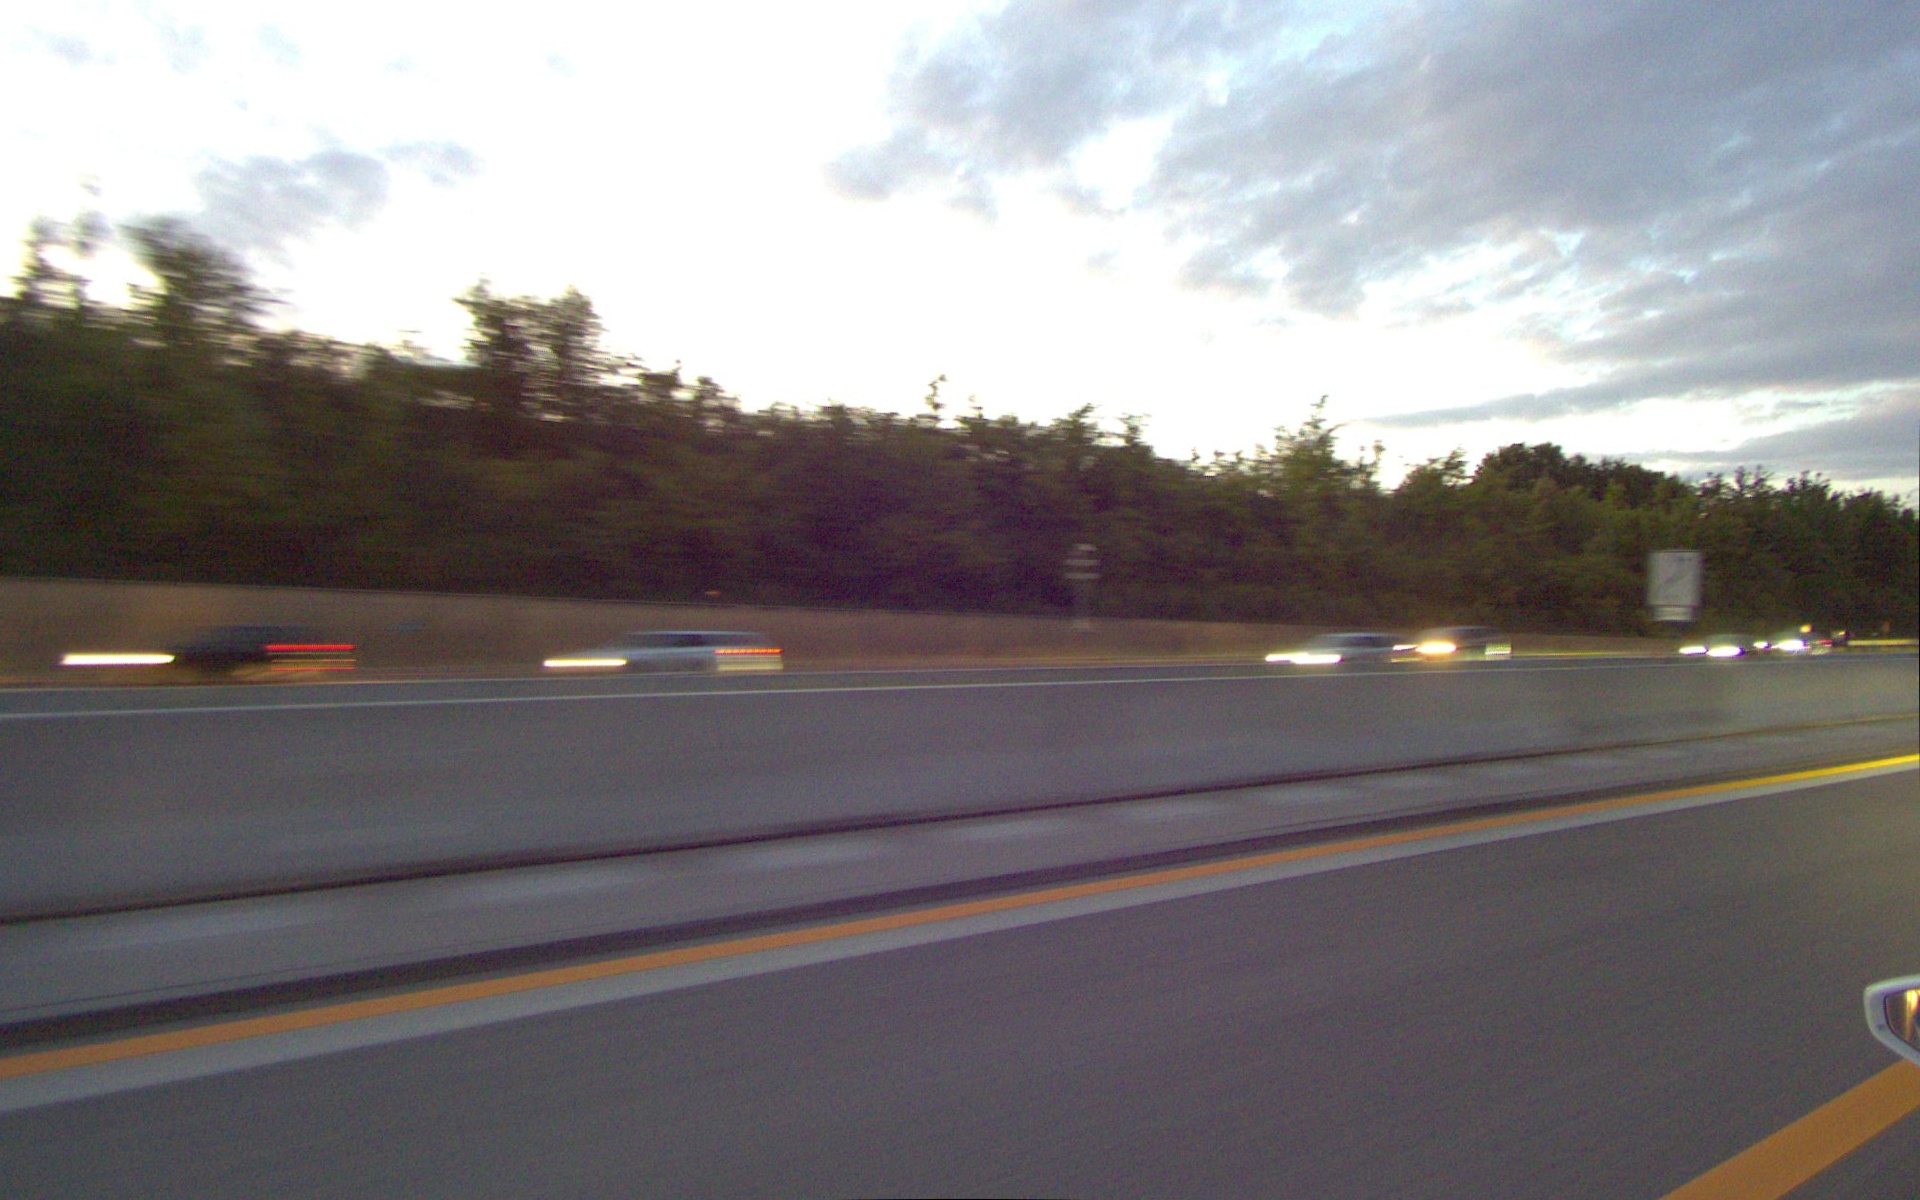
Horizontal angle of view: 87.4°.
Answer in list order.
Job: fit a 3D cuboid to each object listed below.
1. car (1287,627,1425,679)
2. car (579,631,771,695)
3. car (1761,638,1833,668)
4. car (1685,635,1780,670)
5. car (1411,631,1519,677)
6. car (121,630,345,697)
[{"bbox_3d":[13.642,1.800,34.563,4.820,1.610,1.798,2,0,-30],"label":"car"},{"bbox_3d":[-7.472,1.629,26.444,4.588,1.489,1.666,2,0,-28],"label":"car"},{"bbox_3d":[46.667,2.967,56.001,4.127,1.528,1.657,2,0,-28],"label":"car"},{"bbox_3d":[35.850,2.448,46.582,4.612,1.474,1.743,2,0,-28],"label":"car"},{"bbox_3d":[21.024,2.241,41.779,4.615,1.745,1.742,2,0,-30],"label":"car"},{"bbox_3d":[-17.482,1.520,24.400,4.173,1.489,1.570,2,-1,-28],"label":"car"}]
